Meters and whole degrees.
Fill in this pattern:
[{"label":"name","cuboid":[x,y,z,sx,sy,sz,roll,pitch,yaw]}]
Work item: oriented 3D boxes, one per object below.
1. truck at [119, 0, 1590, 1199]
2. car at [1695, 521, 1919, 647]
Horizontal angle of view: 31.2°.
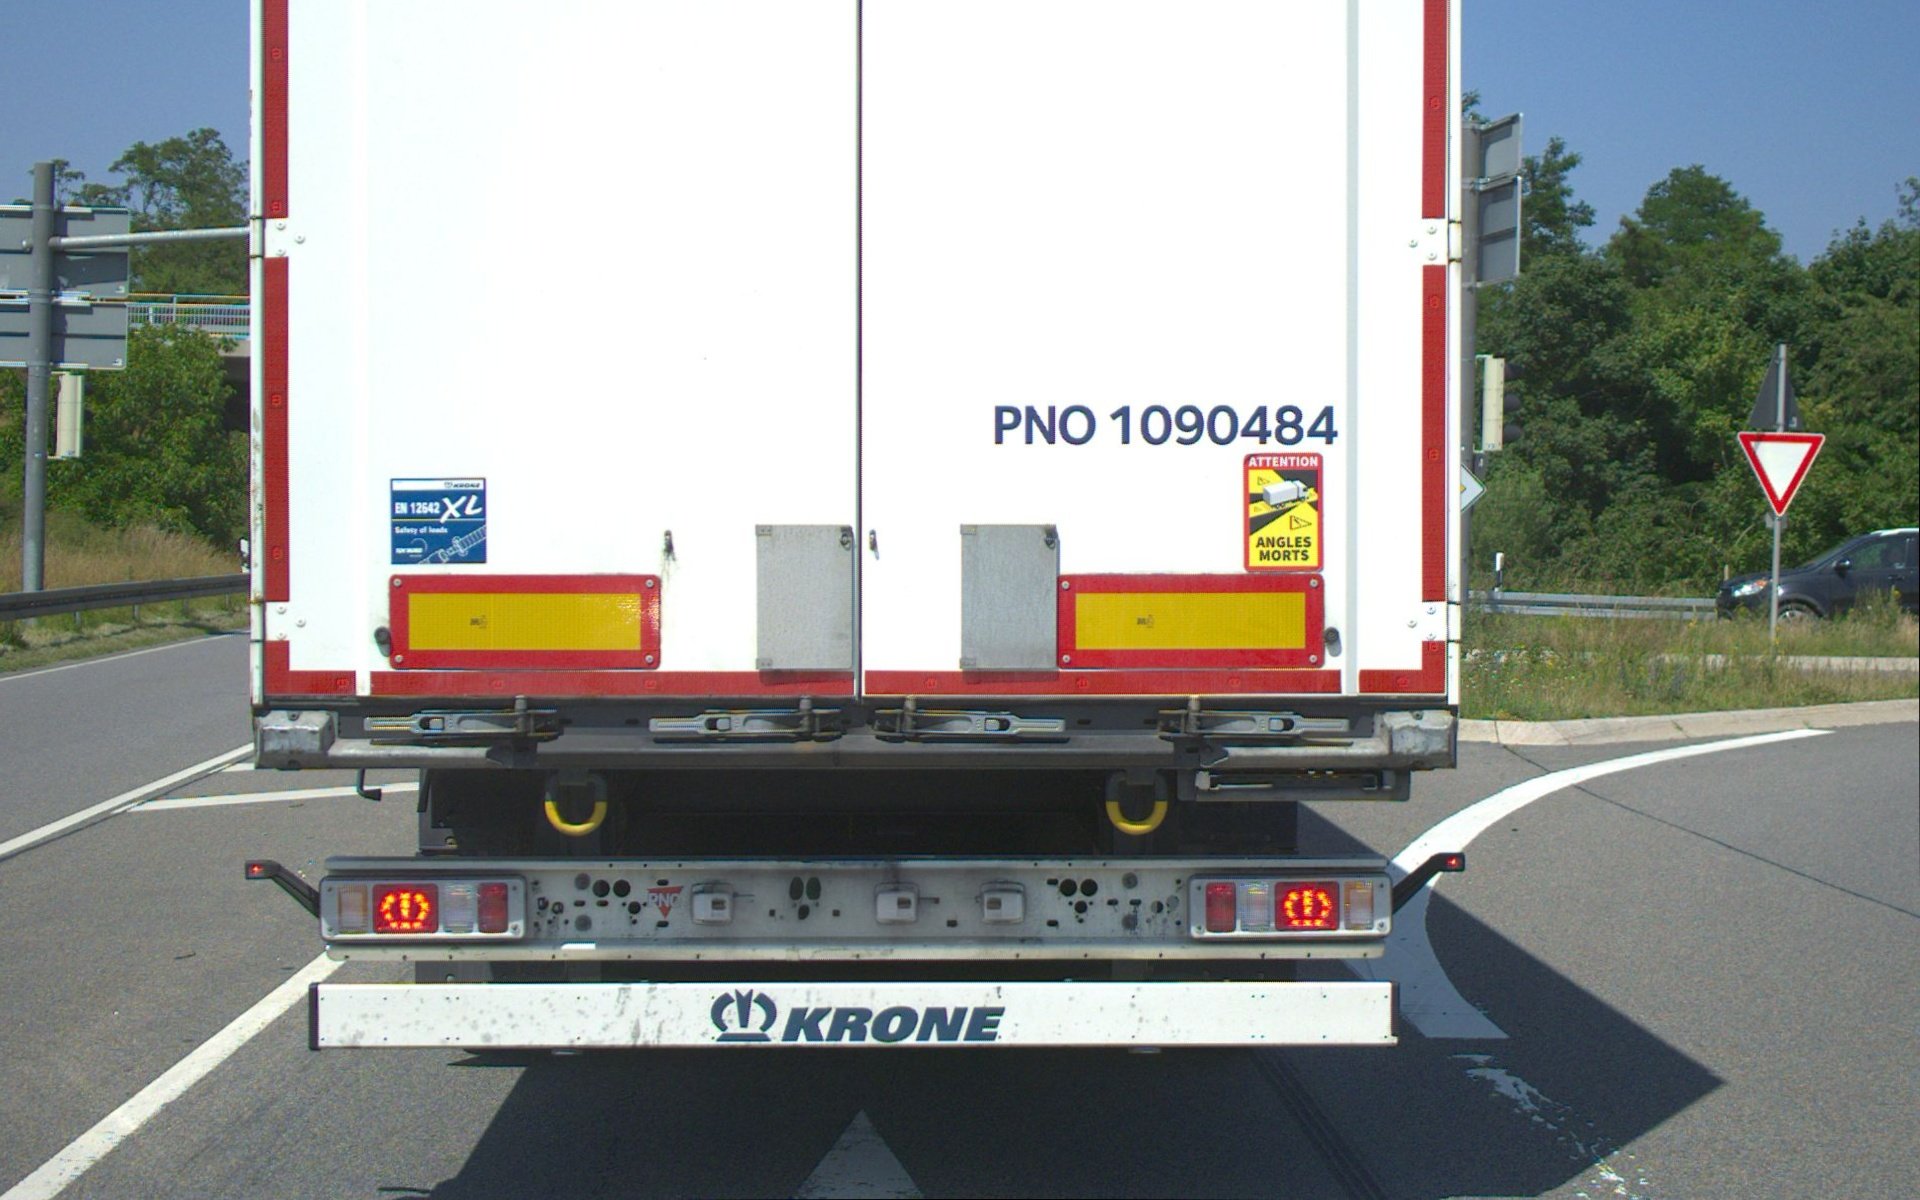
[{"label":"truck","cuboid":[-0.310,-0.684,11.960,2.987,3.928,9.876,0,1,-1]},{"label":"car","cuboid":[12.041,-0.217,46.293,3.986,1.634,1.841,1,0,5]}]
